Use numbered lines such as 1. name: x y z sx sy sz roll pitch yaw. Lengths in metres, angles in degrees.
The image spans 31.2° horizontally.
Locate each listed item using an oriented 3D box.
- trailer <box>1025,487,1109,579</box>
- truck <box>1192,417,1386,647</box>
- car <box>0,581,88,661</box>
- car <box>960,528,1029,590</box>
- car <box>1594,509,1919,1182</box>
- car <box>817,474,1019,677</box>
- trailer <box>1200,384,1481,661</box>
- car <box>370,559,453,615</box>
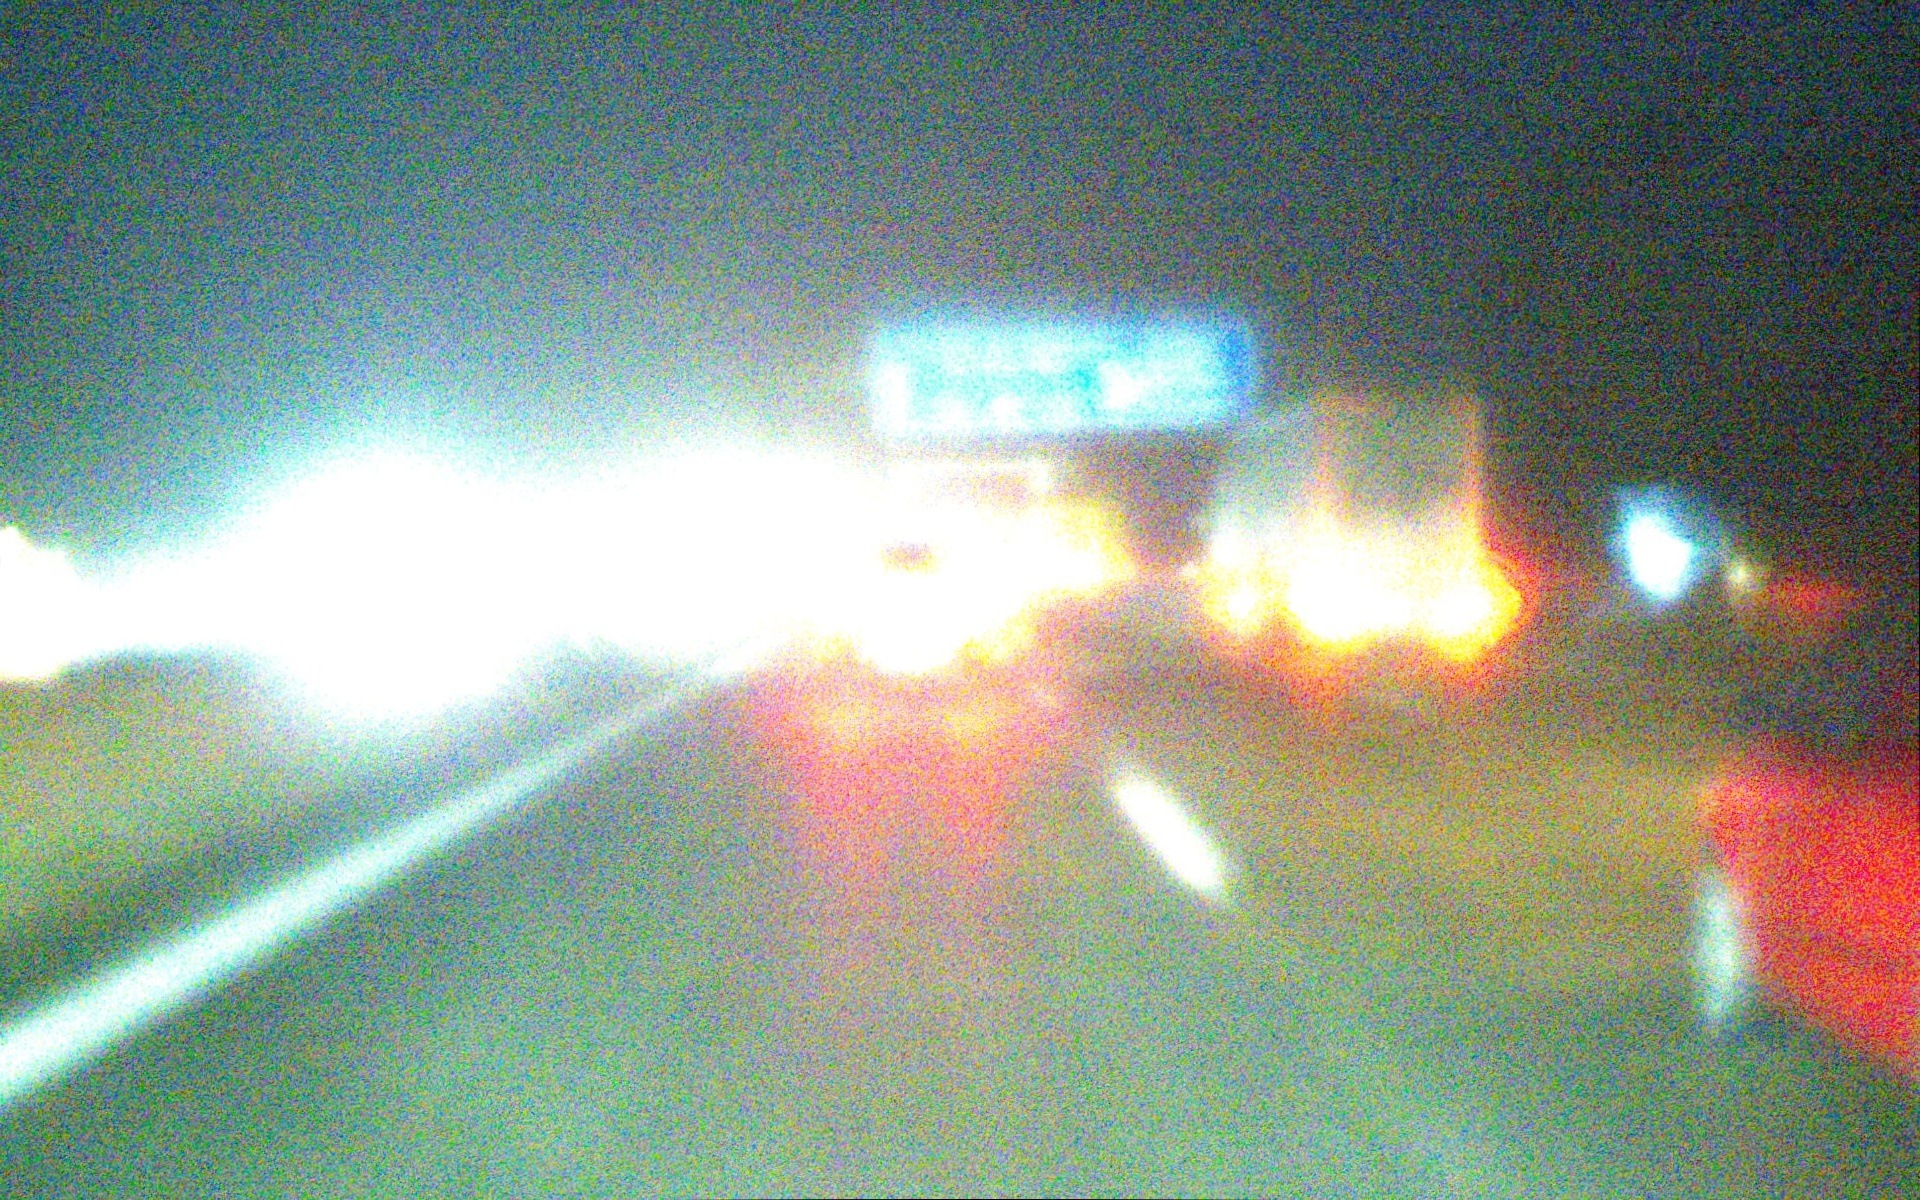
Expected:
1. trailer: 5.185 -3.220 169.914 3.041 4.095 13.829 -2 0 -2
2. truck: 6.173 -1.257 65.294 2.903 4.094 6.031 -2 0 -1
3. car: -21.359 0.465 78.099 1.993 1.708 4.246 -1 1 -1
4. car: 1.172 -1.397 118.647 1.993 2.007 4.000 -2 0 -4
5. car: 3.076 0.568 9.469 1.740 1.570 4.494 0 0 -1
6. car: -0.437 -0.224 36.152 1.993 2.007 4.000 0 -1 -1
7. trailer: 6.263 -1.223 59.208 2.903 4.094 14.488 -2 0 -1
8. car: -17.997 -0.441 112.904 1.993 1.753 4.591 -1 1 -1
